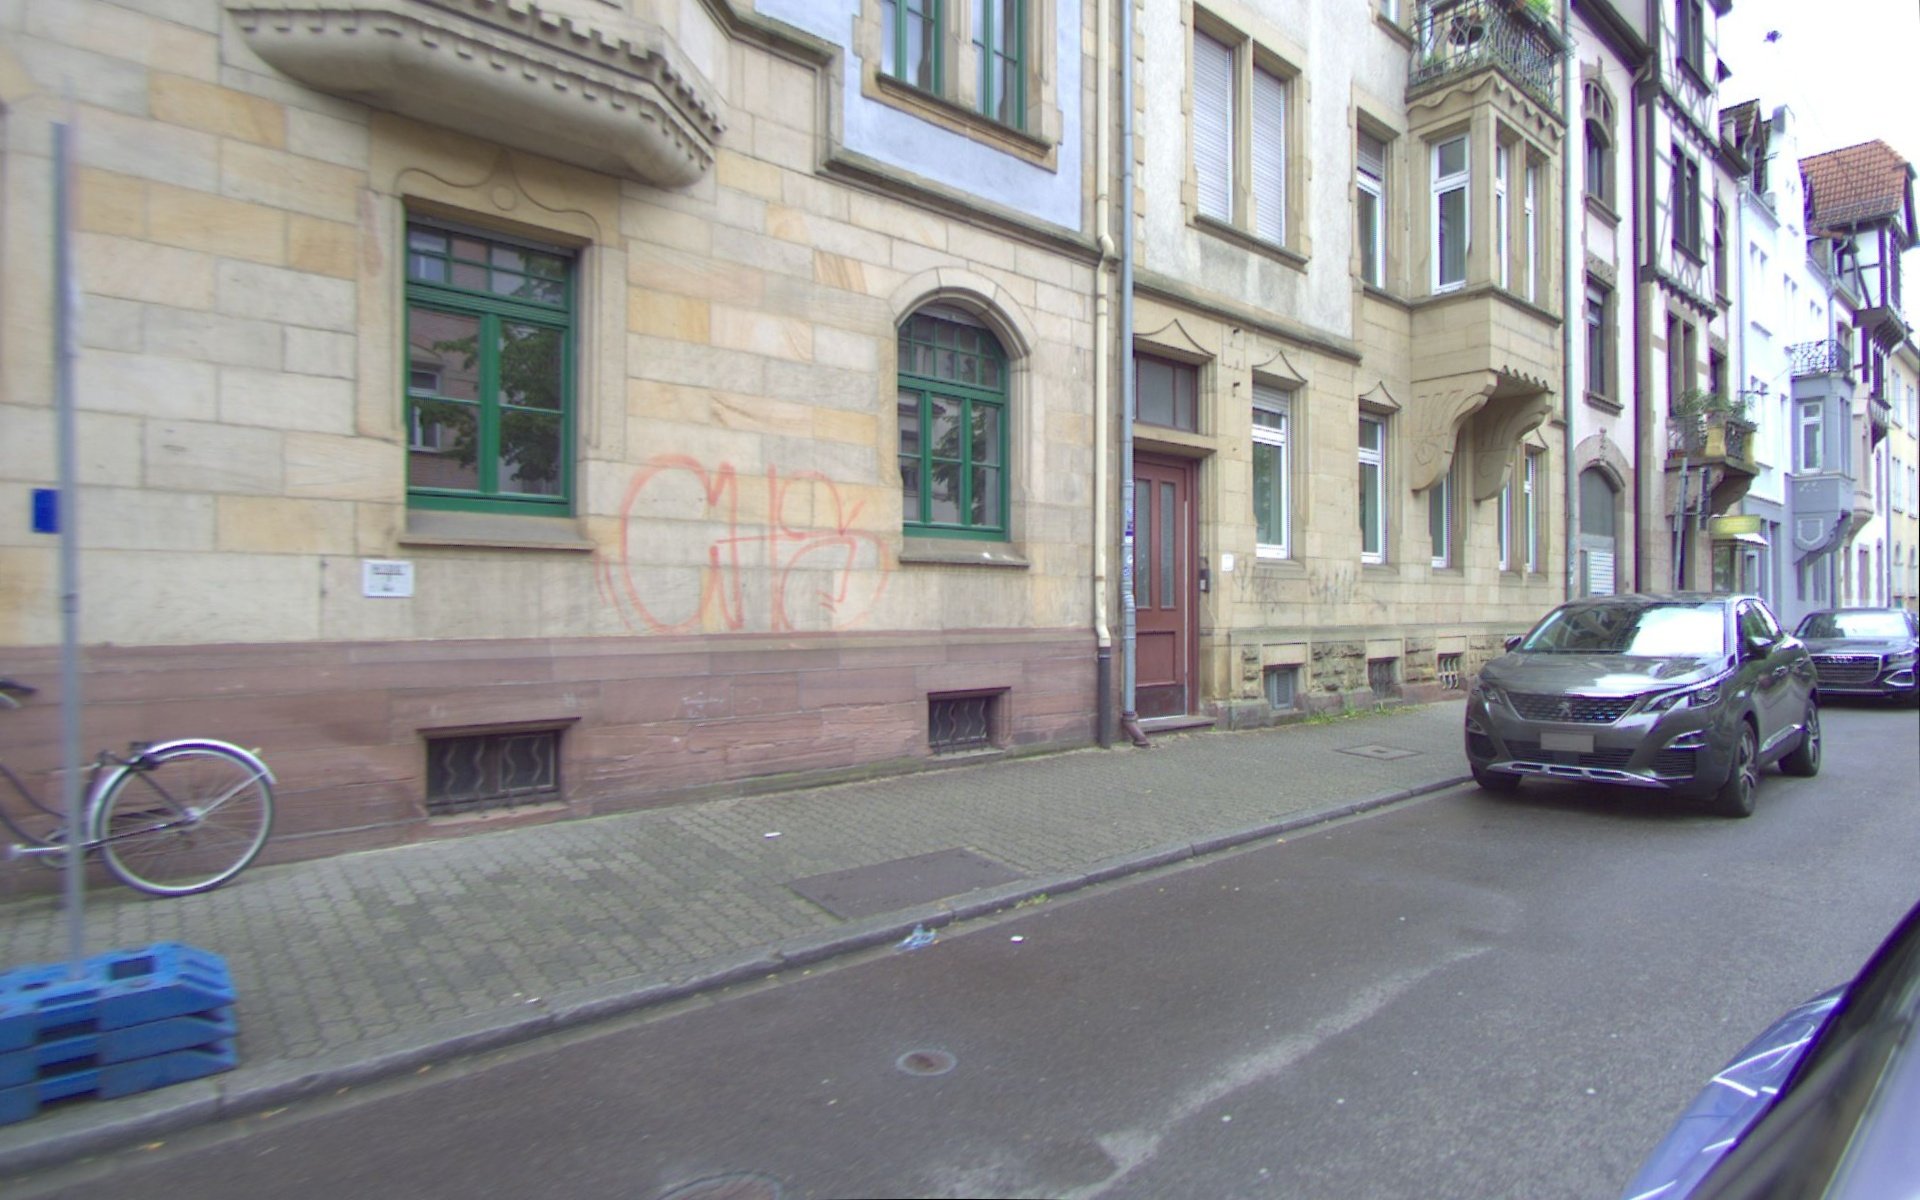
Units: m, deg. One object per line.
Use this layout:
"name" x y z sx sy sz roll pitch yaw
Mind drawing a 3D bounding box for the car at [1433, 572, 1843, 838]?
"car" 5.836 0.665 8.450 4.613 1.643 1.761 0 -1 -42

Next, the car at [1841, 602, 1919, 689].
"car" 18.537 0.830 19.513 4.315 1.533 1.699 0 -4 -41

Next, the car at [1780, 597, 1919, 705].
"car" 14.773 0.769 16.318 4.344 1.533 1.699 0 -4 -42

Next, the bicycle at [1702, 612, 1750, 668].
"bicycle" 16.321 0.840 21.548 1.560 1.111 0.422 0 4 -41

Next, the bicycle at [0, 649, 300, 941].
"bicycle" -4.018 0.817 4.382 1.882 1.141 0.612 0 -4 -41
